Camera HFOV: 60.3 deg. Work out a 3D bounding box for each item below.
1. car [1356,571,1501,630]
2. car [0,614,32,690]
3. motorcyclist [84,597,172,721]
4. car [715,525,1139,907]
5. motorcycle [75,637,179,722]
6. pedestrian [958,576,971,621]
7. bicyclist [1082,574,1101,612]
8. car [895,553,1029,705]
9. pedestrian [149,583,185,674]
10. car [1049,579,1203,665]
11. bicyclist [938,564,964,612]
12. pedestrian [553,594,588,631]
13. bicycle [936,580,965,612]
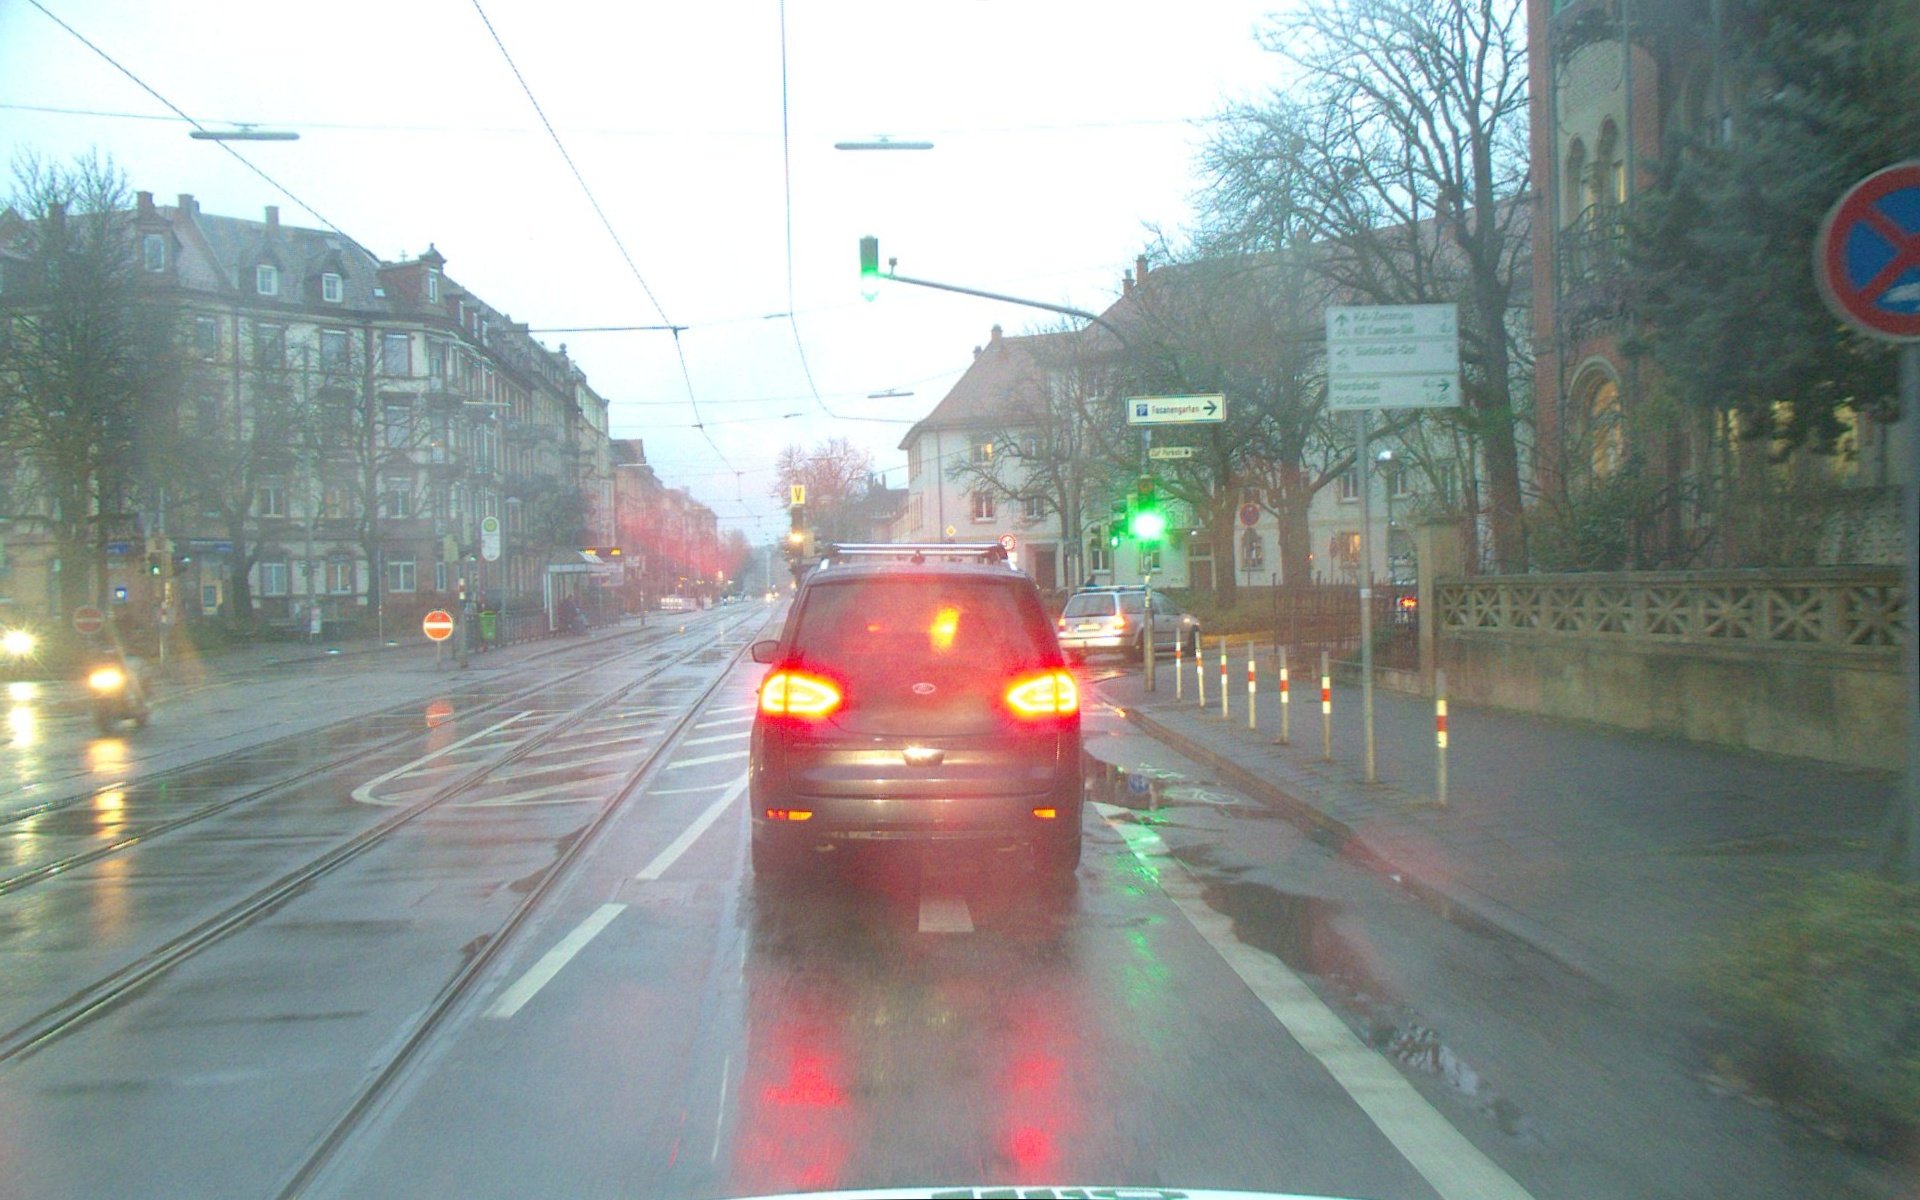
[{"bbox_3d":[11.952,-0.007,42.113,3.964,1.400,1.646,-2,0,-41],"label":"car"},{"bbox_3d":[-23.382,1.215,38.184,3.921,1.702,2.014,-1,0,37],"label":"car"},{"bbox_3d":[-11.027,0.764,21.945,0.830,1.575,1.011,-1,0,-16],"label":"motorcyclist"},{"bbox_3d":[-0.283,0.553,10.400,2.062,1.848,4.657,0,0,-3],"label":"car"},{"bbox_3d":[-11.026,1.030,21.951,0.842,1.009,1.911,-1,0,-15],"label":"motorcycle"},{"bbox_3d":[0.213,-0.067,76.684,0.584,2.049,0.631,-1,-1,-1],"label":"pedestrian"},{"bbox_3d":[6.927,-0.359,87.090,0.791,1.952,0.707,-1,0,27],"label":"bicyclist"},{"bbox_3d":[-0.049,0.402,24.732,1.675,2.049,4.295,-1,0,-4],"label":"car"},{"bbox_3d":[-18.248,0.641,38.075,0.695,2.049,0.655,-1,0,-25],"label":"pedestrian"},{"bbox_3d":[3.528,0.436,34.579,1.677,1.691,3.991,-1,0,31],"label":"car"},{"bbox_3d":[-0.329,-0.445,60.250,0.704,1.691,1.054,2,0,-10],"label":"bicyclist"},{"bbox_3d":[-13.324,0.431,56.534,1.027,1.221,0.884,-1,0,-5],"label":"pedestrian"},{"bbox_3d":[-0.344,-0.154,60.273,0.704,1.131,1.937,3,0,-10],"label":"bicycle"}]
